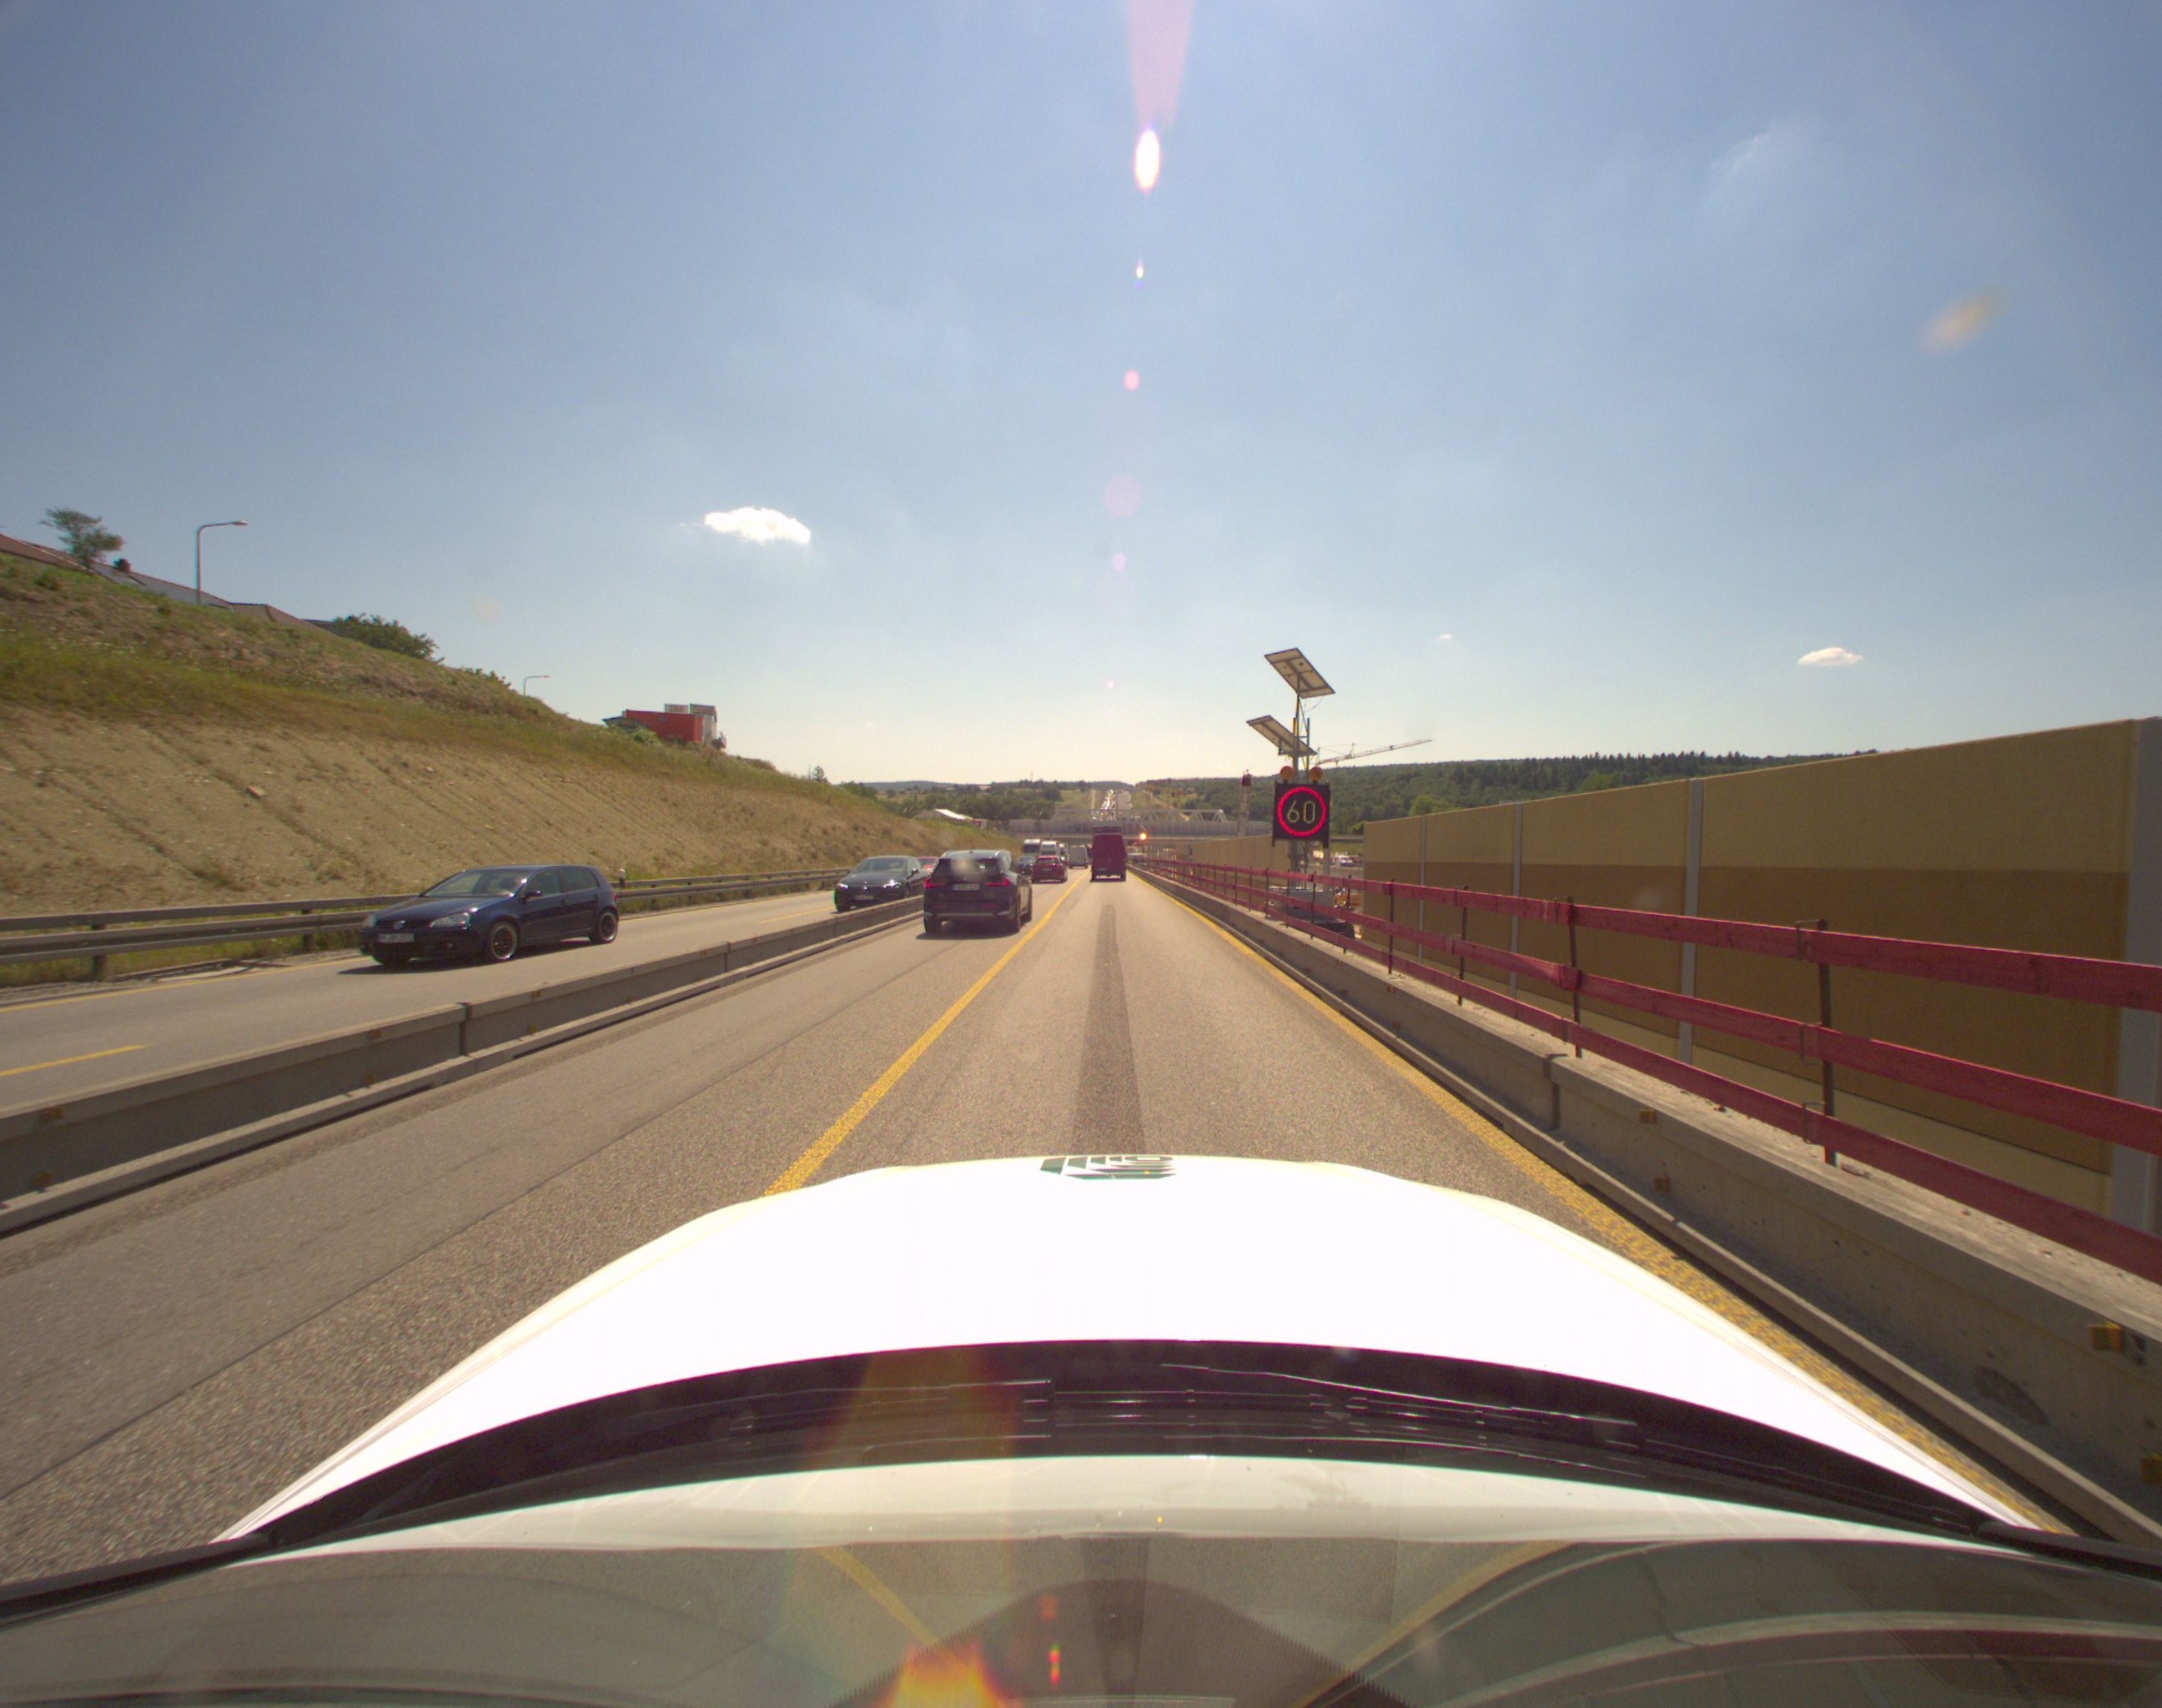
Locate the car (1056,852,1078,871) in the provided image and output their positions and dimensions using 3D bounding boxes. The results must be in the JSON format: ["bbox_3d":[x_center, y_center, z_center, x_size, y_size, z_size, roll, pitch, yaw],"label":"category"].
[{"bbox_3d":[-1.253,0.677,76.191,1.833,1.654,4.166,-1,0,1],"label":"car"}]

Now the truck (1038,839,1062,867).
[{"bbox_3d":[-3.799,-0.115,102.221,2.529,3.374,7.040,0,0,1],"label":"truck"}]

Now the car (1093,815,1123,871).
[{"bbox_3d":[2.568,-1.005,79.011,2.611,5.032,10.400,-1,0,2],"label":"car"}]

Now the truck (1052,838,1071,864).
[{"bbox_3d":[-2.951,-0.473,123.882,2.580,3.758,7.360,0,0,1],"label":"truck"}]

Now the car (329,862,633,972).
[{"bbox_3d":[-9.411,0.889,13.309,1.703,1.418,4.244,-1,0,2],"label":"car"}]

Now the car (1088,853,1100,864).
[{"bbox_3d":[2.077,0.707,125.658,1.769,1.670,4.030,-1,0,2],"label":"car"}]

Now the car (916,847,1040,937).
[{"bbox_3d":[-2.002,0.693,17.155,1.873,1.618,4.501,-1,0,2],"label":"car"}]

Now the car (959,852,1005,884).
[{"bbox_3d":[-5.367,0.718,44.609,1.838,1.665,4.690,0,0,2],"label":"car"}]

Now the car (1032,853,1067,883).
[{"bbox_3d":[-1.655,0.720,44.188,1.771,1.517,4.204,-1,0,-1],"label":"car"}]

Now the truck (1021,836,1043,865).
[{"bbox_3d":[-6.821,-0.494,114.482,2.688,4.050,3.956,0,0,1],"label":"truck"}]

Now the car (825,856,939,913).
[{"bbox_3d":[-5.658,0.806,23.898,1.948,1.499,5.092,0,0,2],"label":"car"}]

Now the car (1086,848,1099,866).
[{"bbox_3d":[1.591,0.371,112.016,1.769,2.330,4.207,-1,0,2],"label":"car"}]

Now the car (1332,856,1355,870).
[{"bbox_3d":[39.246,1.314,121.700,1.800,2.013,4.824,0,0,-1],"label":"car"}]

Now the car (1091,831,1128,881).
[{"bbox_3d":[1.607,0.102,46.982,1.981,2.690,4.625,-1,0,2],"label":"car"}]

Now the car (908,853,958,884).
[{"bbox_3d":[-8.077,0.751,44.783,1.678,1.585,5.128,0,0,2],"label":"car"}]

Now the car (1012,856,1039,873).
[{"bbox_3d":[-4.670,0.857,69.482,1.790,1.427,4.951,-1,0,1],"label":"car"}]

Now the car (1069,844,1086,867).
[{"bbox_3d":[-0.394,0.183,91.980,1.769,2.441,4.207,-1,0,2],"label":"car"}]

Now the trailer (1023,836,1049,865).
[{"bbox_3d":[-6.632,-0.503,121.782,2.688,4.024,13.706,0,0,1],"label":"trailer"}]

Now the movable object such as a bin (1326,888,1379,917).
[{"bbox_3d":[28.166,4.964,84.833,3.150,2.446,7.899,2,0,2],"label":"movable object such as a bin"}]
